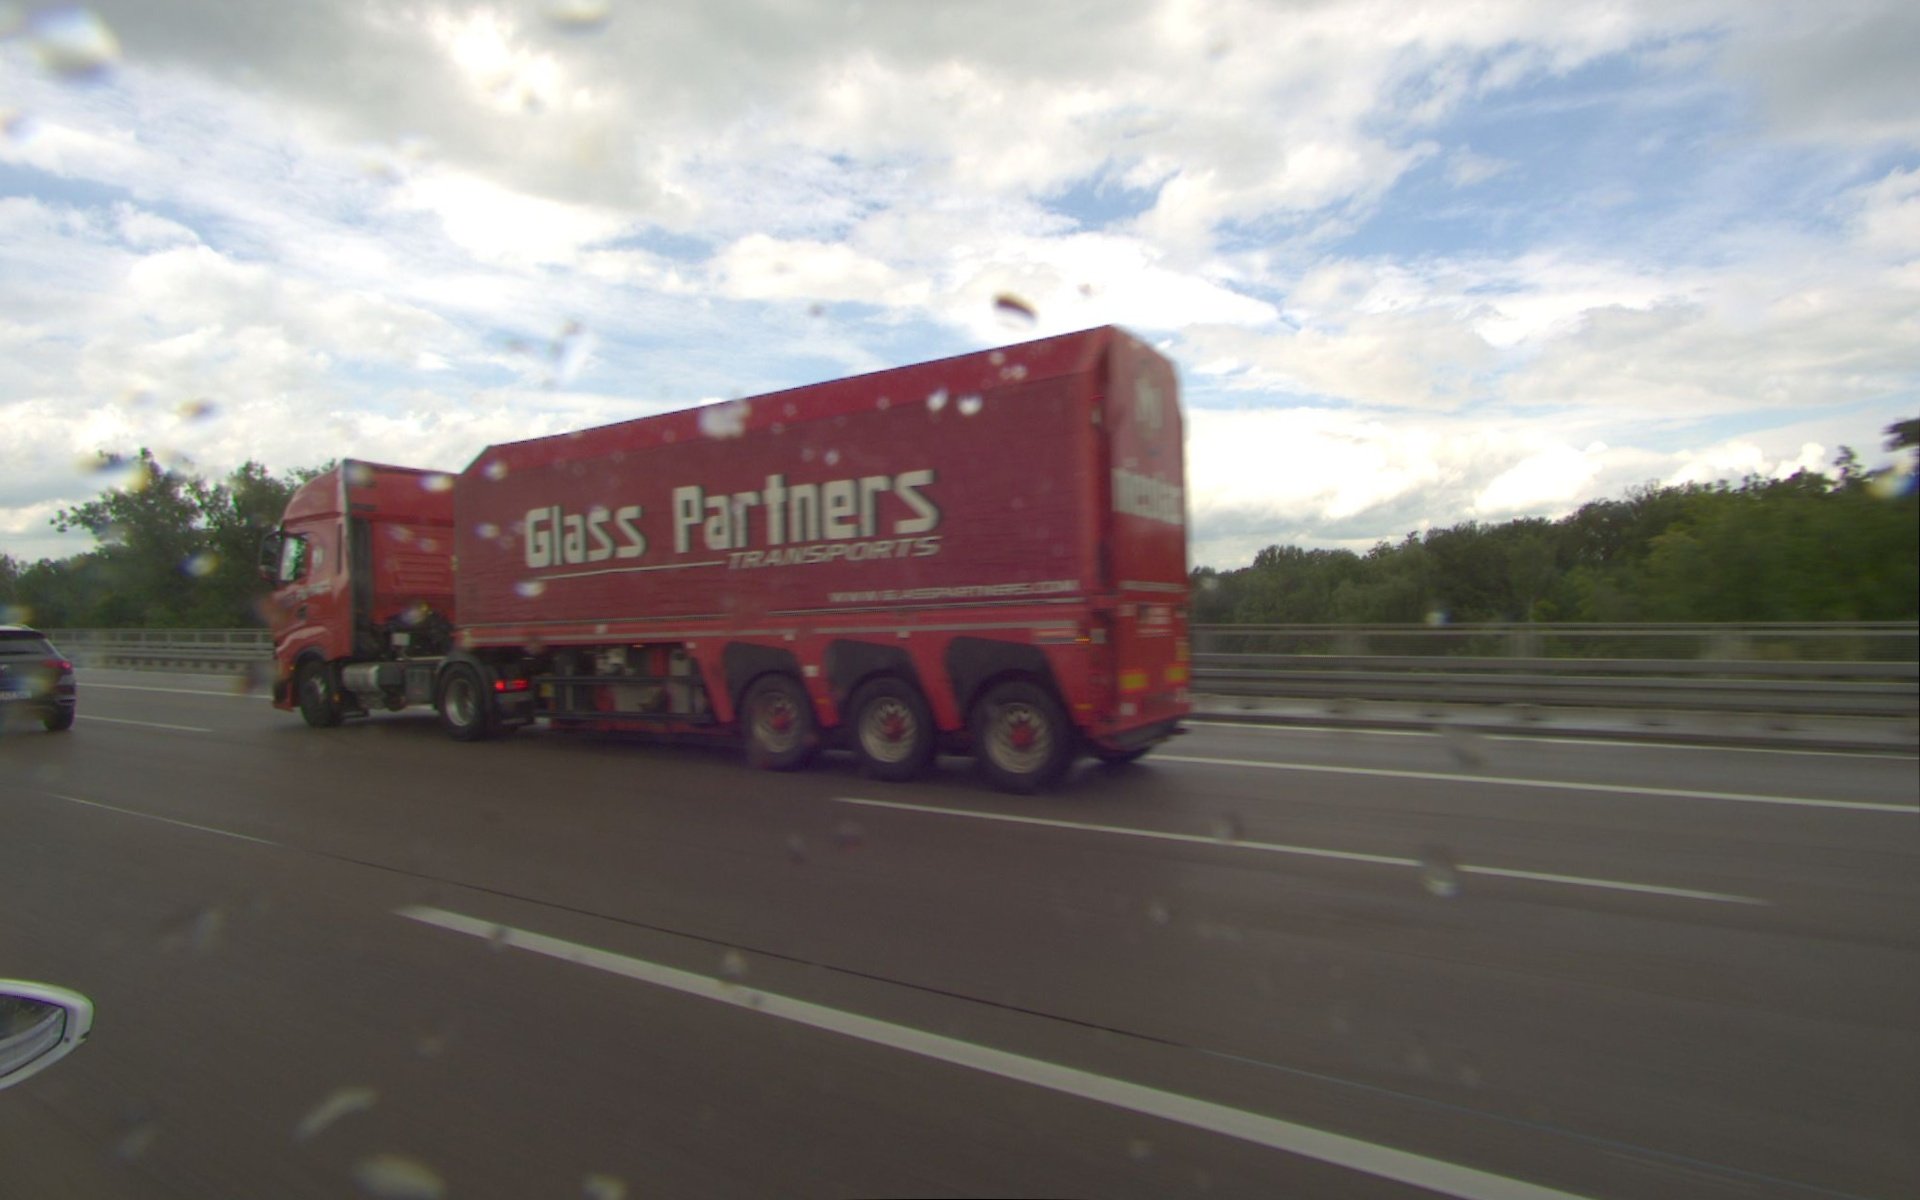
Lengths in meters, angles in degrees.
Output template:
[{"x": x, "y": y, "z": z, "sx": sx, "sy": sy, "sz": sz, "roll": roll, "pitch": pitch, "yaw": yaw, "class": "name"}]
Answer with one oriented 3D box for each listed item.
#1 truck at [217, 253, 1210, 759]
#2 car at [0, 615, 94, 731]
[{"x": -4.668, "y": -0.674, "z": 13.463, "sx": 15.410, "sy": 4.056, "sz": 3.147, "roll": 0, "pitch": 0, "yaw": 32, "class": "truck"}, {"x": -14.514, "y": 1.020, "z": 14.646, "sx": 3.668, "sy": 1.582, "sz": 1.789, "roll": -1, "pitch": -1, "yaw": 32, "class": "car"}]
